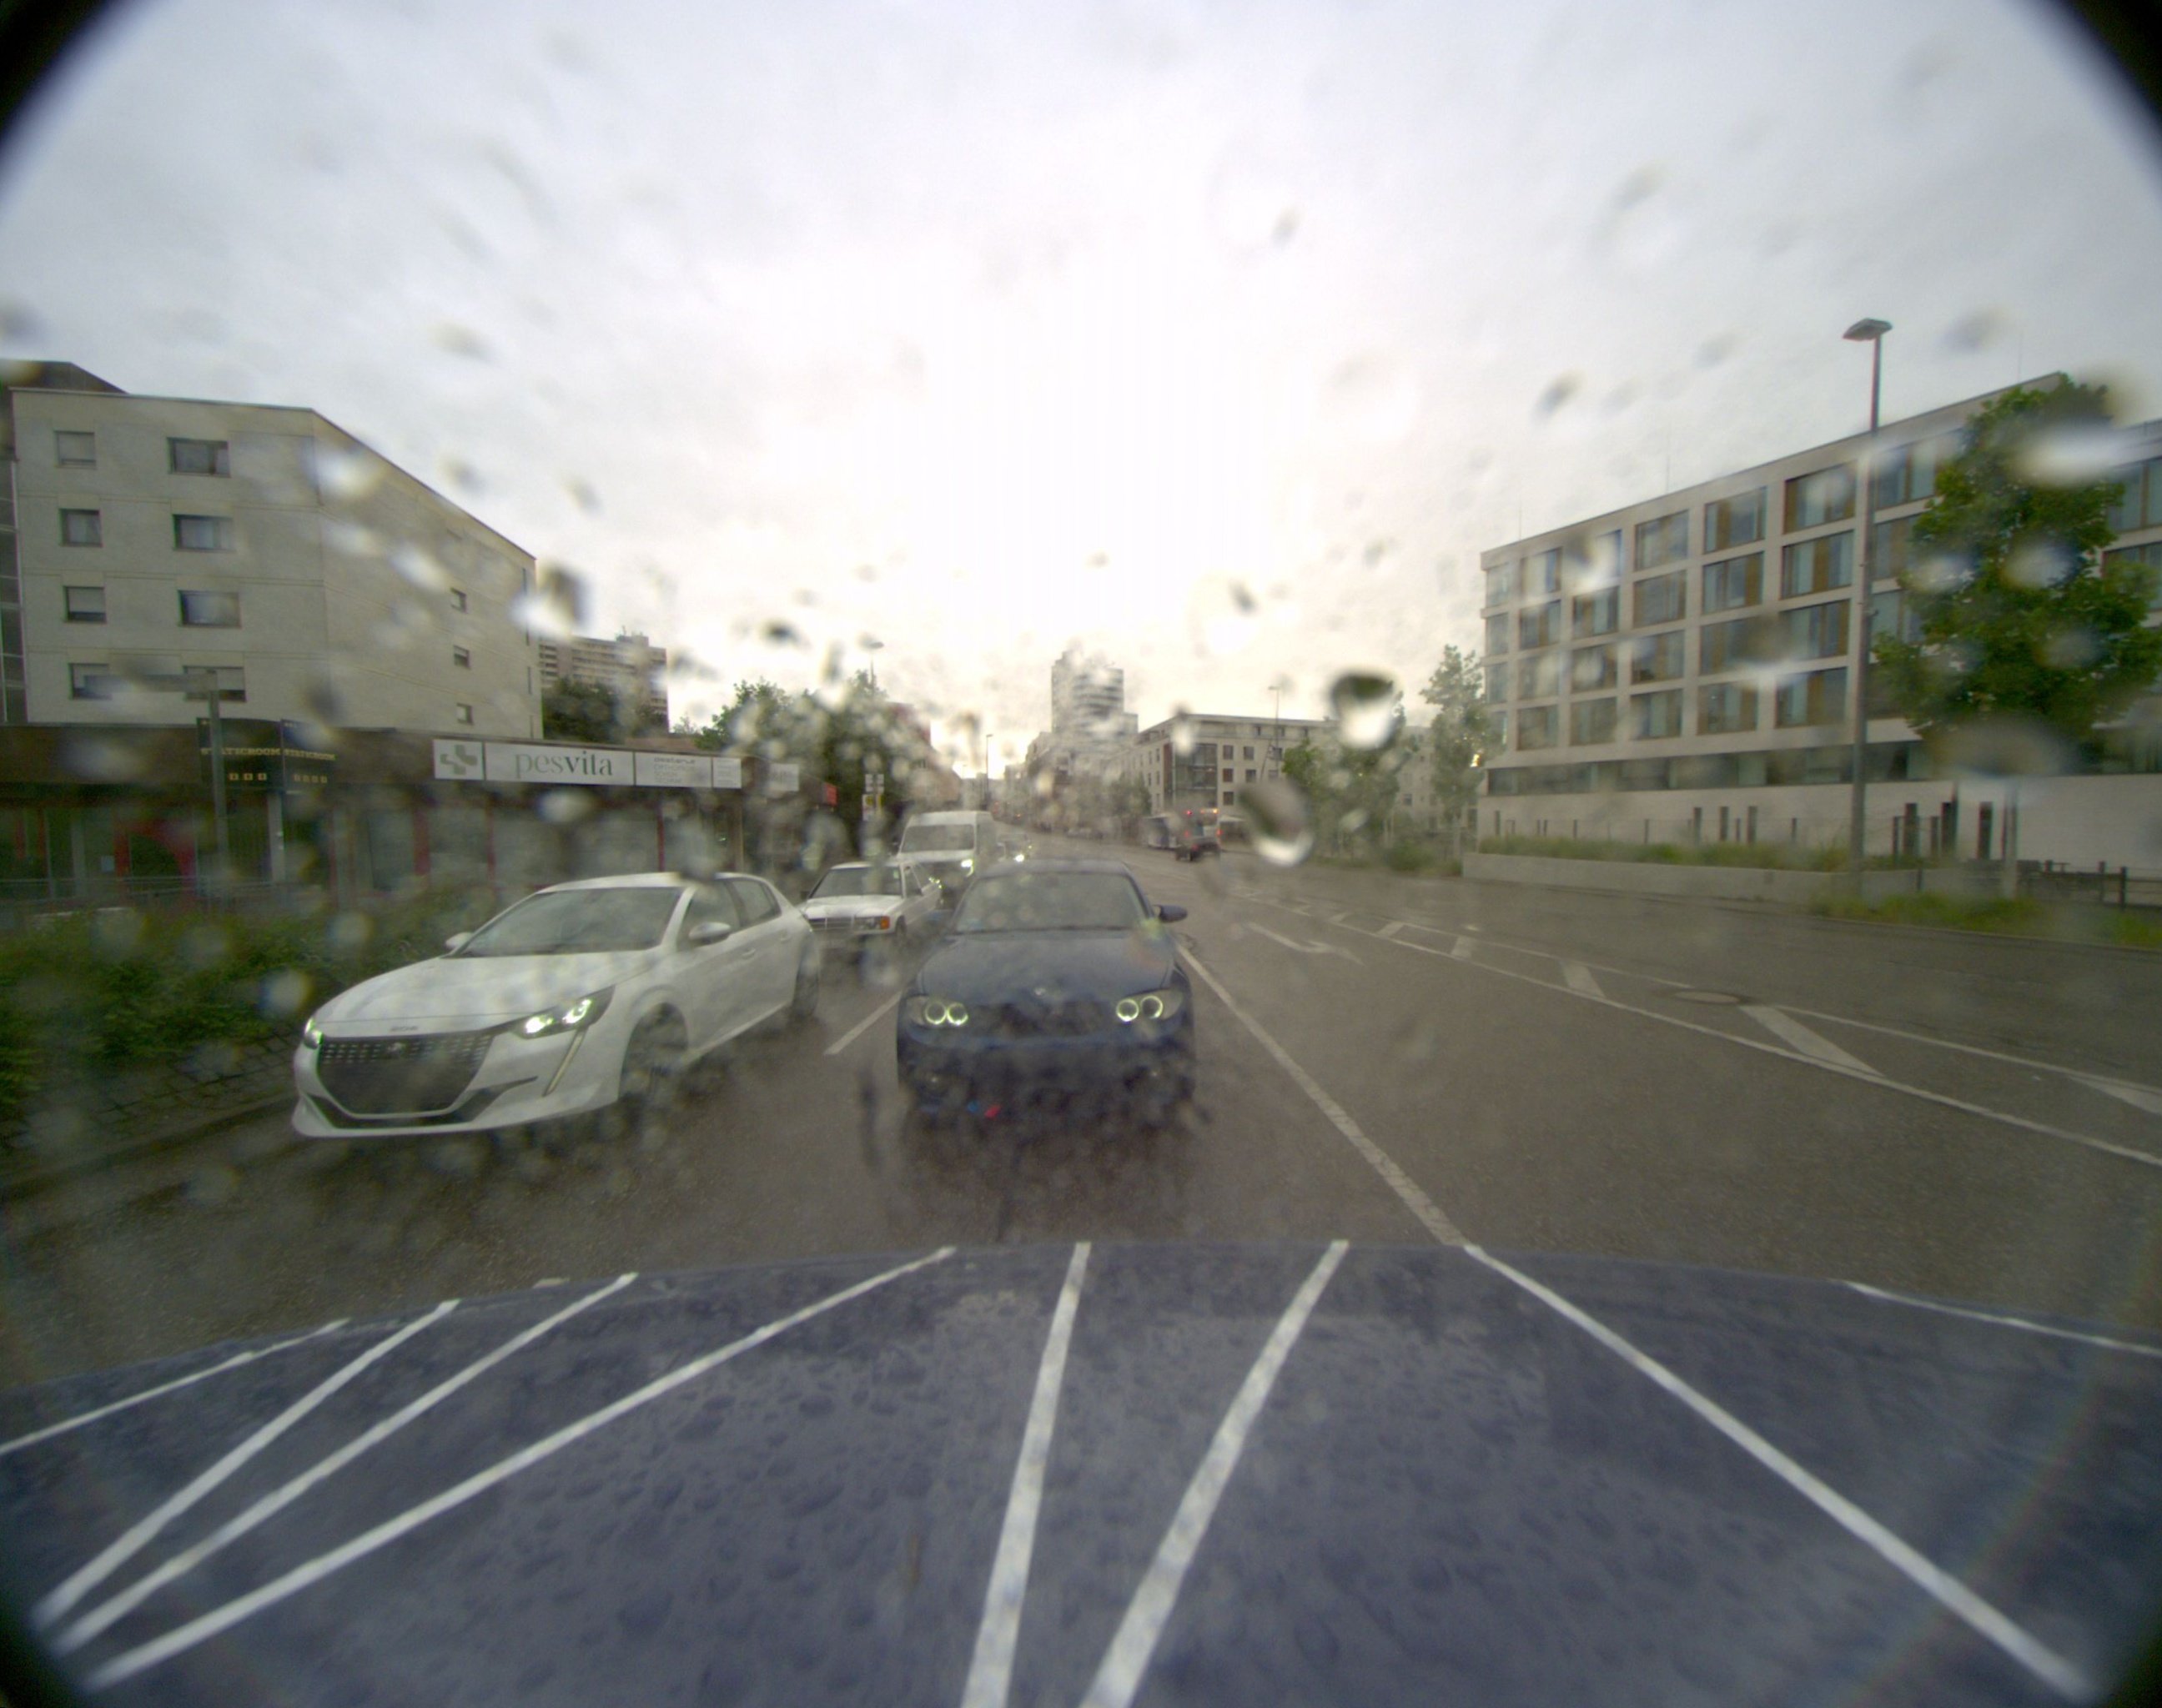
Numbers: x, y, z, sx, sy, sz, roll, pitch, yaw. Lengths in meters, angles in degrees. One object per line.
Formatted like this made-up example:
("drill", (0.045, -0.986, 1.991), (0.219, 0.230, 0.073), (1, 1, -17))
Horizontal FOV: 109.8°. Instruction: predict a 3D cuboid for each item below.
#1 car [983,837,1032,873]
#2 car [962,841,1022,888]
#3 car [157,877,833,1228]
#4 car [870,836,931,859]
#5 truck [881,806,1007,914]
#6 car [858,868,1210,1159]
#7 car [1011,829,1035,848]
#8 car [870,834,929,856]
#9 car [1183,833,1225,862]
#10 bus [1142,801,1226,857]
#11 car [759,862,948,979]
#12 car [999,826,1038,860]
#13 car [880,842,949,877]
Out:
("car", (-3.397, 0.046, 35.753), (1.999, 1.543, 3.999), (-2, 0, -2))
("car", (-3.305, 0.342, 28.818), (1.643, 1.477, 3.676), (-6, 1, 1))
("car", (-3.397, 0.995, 5.574), (1.718, 1.389, 4.035), (-3, 1, 1))
("car", (-12.719, -0.467, 53.659), (4.000, 1.412, 1.998), (-3, 1, -9))
("truck", (-3.442, 0.090, 20.545), (2.169, 2.425, 6.199), (-1, 1, 1))
("car", (-0.218, 0.864, 5.792), (1.787, 1.335, 3.704), (-2, 1, 1))
("car", (-5.261, -1.399, 68.987), (1.999, 1.543, 3.999), (-2, 0, -2))
("car", (-13.265, -0.666, 55.691), (4.000, 1.412, 1.701), (-3, 2, -9))
("car", (7.009, -0.418, 43.489), (1.818, 1.421, 3.941), (-2, 3, 2))
("bus", (8.151, -1.981, 63.940), (2.952, 3.972, 18.215), (0, 1, -5))
("car", (-3.335, 0.897, 11.907), (1.718, 1.369, 3.734), (-3, 1, 1))
("car", (-3.785, -0.670, 46.681), (1.998, 2.002, 3.999), (1, 1, 1))
("car", (-6.919, 0.197, 31.994), (1.998, 1.344, 3.803), (1, 1, 1))
